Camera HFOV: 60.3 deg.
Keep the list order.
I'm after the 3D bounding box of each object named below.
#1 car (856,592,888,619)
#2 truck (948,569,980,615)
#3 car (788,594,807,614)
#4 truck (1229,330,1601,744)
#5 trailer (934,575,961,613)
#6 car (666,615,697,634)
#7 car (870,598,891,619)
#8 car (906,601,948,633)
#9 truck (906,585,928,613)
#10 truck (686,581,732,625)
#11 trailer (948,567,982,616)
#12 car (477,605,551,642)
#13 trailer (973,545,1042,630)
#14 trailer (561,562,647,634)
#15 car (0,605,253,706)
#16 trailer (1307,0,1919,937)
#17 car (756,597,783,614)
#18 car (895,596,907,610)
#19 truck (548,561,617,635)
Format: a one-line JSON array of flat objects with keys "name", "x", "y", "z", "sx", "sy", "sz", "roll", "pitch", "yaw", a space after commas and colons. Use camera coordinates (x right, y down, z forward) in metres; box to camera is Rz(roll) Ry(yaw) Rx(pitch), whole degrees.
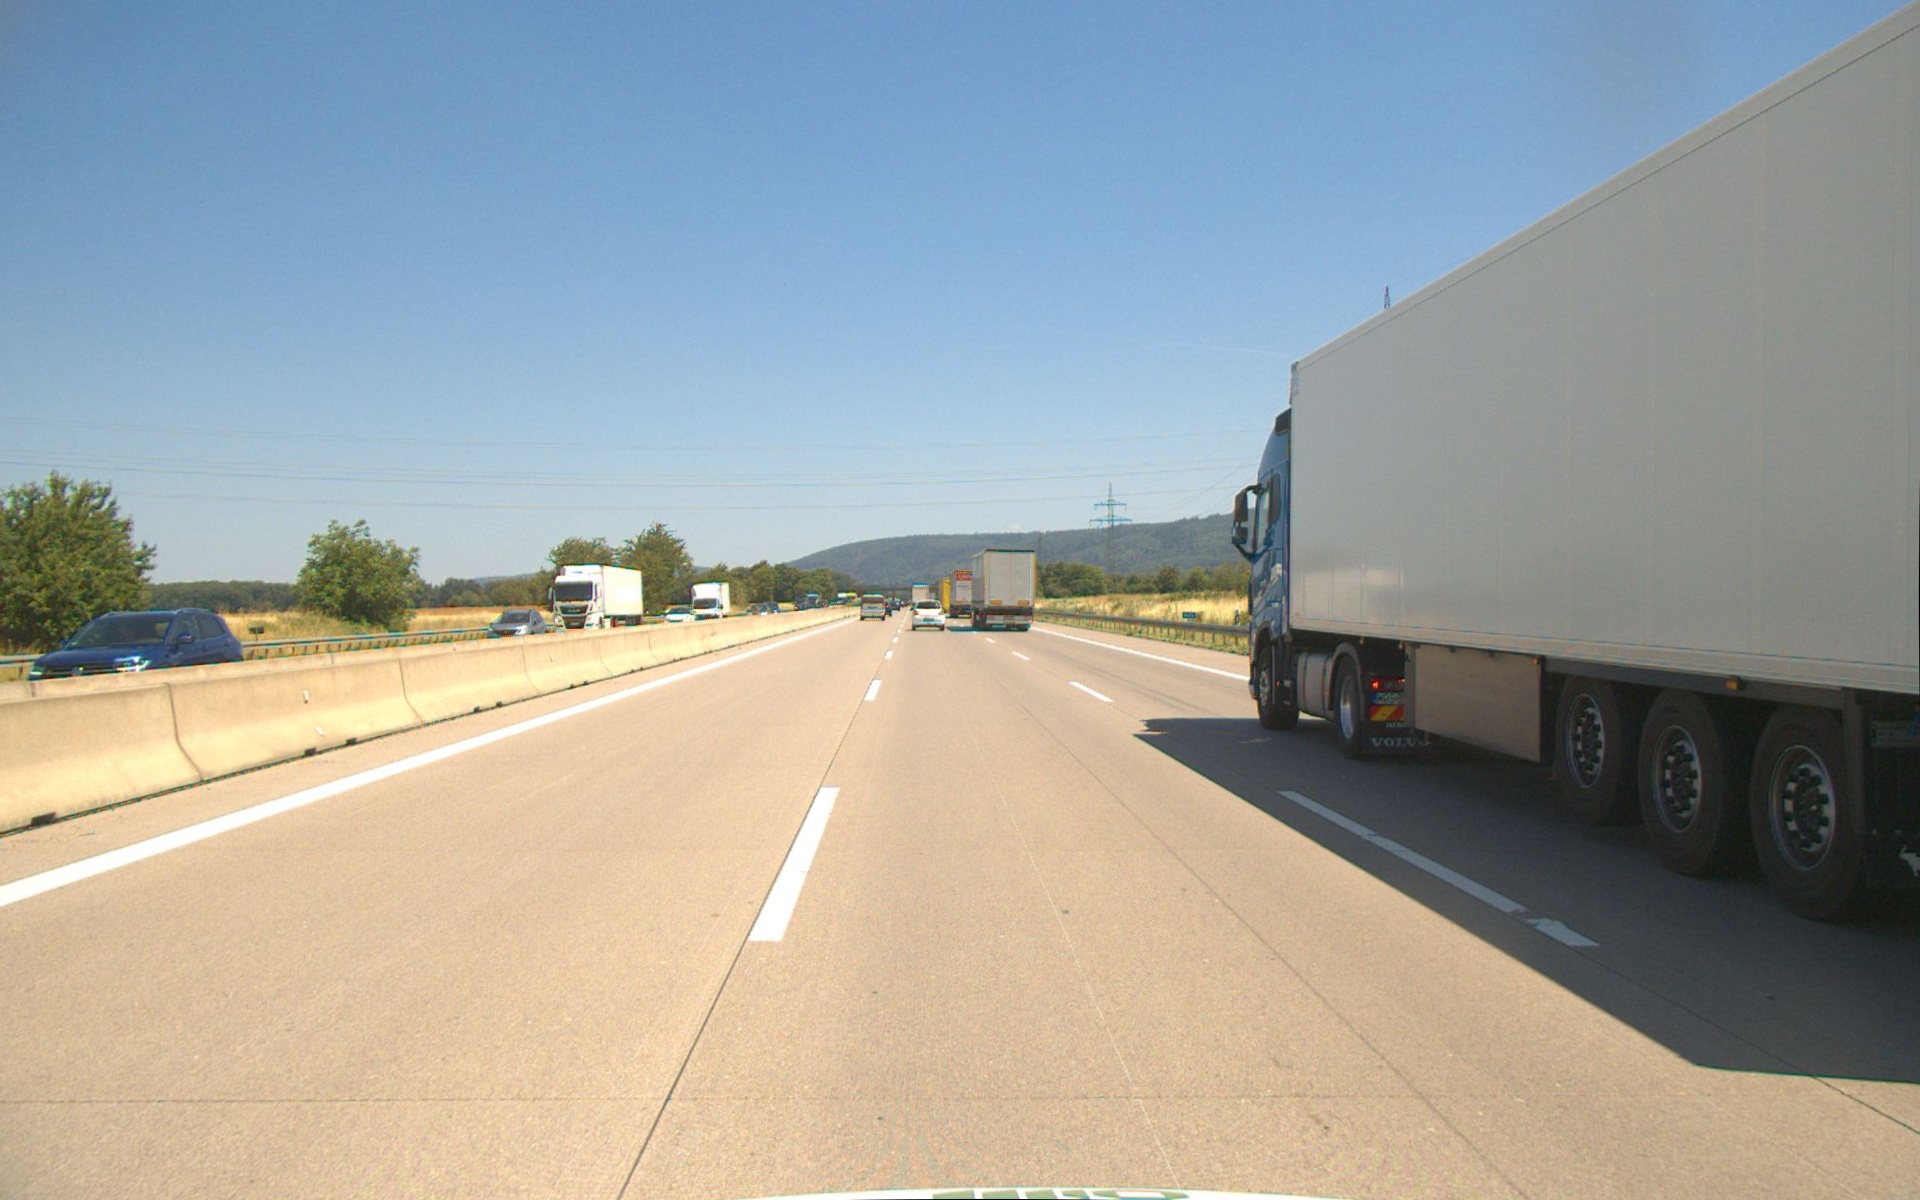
[{"name": "car", "x": -6.666, "y": 0.409, "z": 125.767, "sx": 2.209, "sy": 2.049, "sz": 4.296, "roll": 1, "pitch": 0, "yaw": -1}, {"name": "truck", "x": 0.306, "y": -0.731, "z": 153.719, "sx": 2.846, "sy": 4.172, "sz": 6.270, "roll": 1, "pitch": 0, "yaw": -1}, {"name": "car", "x": -23.577, "y": 0.616, "z": 240.143, "sx": 2.202, "sy": 2.835, "sz": 6.790, "roll": 1, "pitch": 0, "yaw": -1}, {"name": "truck", "x": 5.014, "y": -0.623, "z": 19.329, "sx": 2.695, "sy": 4.114, "sz": 5.464, "roll": 1, "pitch": 0, "yaw": -2}, {"name": "trailer", "x": -1.640, "y": -0.776, "z": 209.789, "sx": 3.151, "sy": 4.643, "sz": 13.452, "roll": 1, "pitch": 0, "yaw": -1}, {"name": "car", "x": -18.262, "y": 1.575, "z": 108.630, "sx": 1.647, "sy": 1.166, "sz": 4.393, "roll": 0, "pitch": 0, "yaw": -5}, {"name": "car", "x": -7.561, "y": 0.816, "z": 157.530, "sx": 1.953, "sy": 1.991, "sz": 3.999, "roll": 1, "pitch": 0, "yaw": -1}, {"name": "car", "x": -1.650, "y": 0.840, "z": 84.580, "sx": 2.064, "sy": 1.563, "sz": 4.121, "roll": 1, "pitch": 0, "yaw": 0}, {"name": "truck", "x": -6.869, "y": -0.124, "z": 263.160, "sx": 3.285, "sy": 4.347, "sz": 8.226, "roll": 1, "pitch": 0, "yaw": -2}, {"name": "truck", "x": -18.697, "y": 0.249, "z": 123.659, "sx": 2.496, "sy": 3.197, "sz": 7.919, "roll": 0, "pitch": 0, "yaw": -2}, {"name": "trailer", "x": 0.388, "y": -0.737, "z": 148.177, "sx": 2.815, "sy": 4.172, "sz": 13.510, "roll": 1, "pitch": 0, "yaw": -1}, {"name": "car", "x": -17.469, "y": 0.900, "z": 64.979, "sx": 1.700, "sy": 1.397, "sz": 4.904, "roll": 1, "pitch": 0, "yaw": -2}, {"name": "trailer", "x": 2.402, "y": -0.583, "z": 88.334, "sx": 2.957, "sy": 4.132, "sz": 14.203, "roll": 1, "pitch": 0, "yaw": -1}, {"name": "trailer", "x": -21.981, "y": -0.110, "z": 102.792, "sx": 2.763, "sy": 4.115, "sz": 12.674, "roll": 1, "pitch": 0, "yaw": -1}, {"name": "car", "x": -11.880, "y": 0.724, "z": 23.529, "sx": 1.736, "sy": 1.261, "sz": 4.675, "roll": 1, "pitch": 0, "yaw": -2}, {"name": "trailer", "x": 5.223, "y": -0.634, "z": 11.300, "sx": 2.654, "sy": 4.114, "sz": 12.898, "roll": 1, "pitch": 0, "yaw": -1}, {"name": "car", "x": -16.019, "y": 0.414, "z": 139.320, "sx": 1.809, "sy": 1.375, "sz": 4.493, "roll": -1, "pitch": 0, "yaw": -1}, {"name": "car", "x": -8.529, "y": 0.433, "z": 239.631, "sx": 1.747, "sy": 1.914, "sz": 3.999, "roll": 1, "pitch": 0, "yaw": -1}, {"name": "truck", "x": -21.863, "y": -0.120, "z": 96.094, "sx": 2.762, "sy": 4.115, "sz": 5.676, "roll": 1, "pitch": 0, "yaw": -1}]
